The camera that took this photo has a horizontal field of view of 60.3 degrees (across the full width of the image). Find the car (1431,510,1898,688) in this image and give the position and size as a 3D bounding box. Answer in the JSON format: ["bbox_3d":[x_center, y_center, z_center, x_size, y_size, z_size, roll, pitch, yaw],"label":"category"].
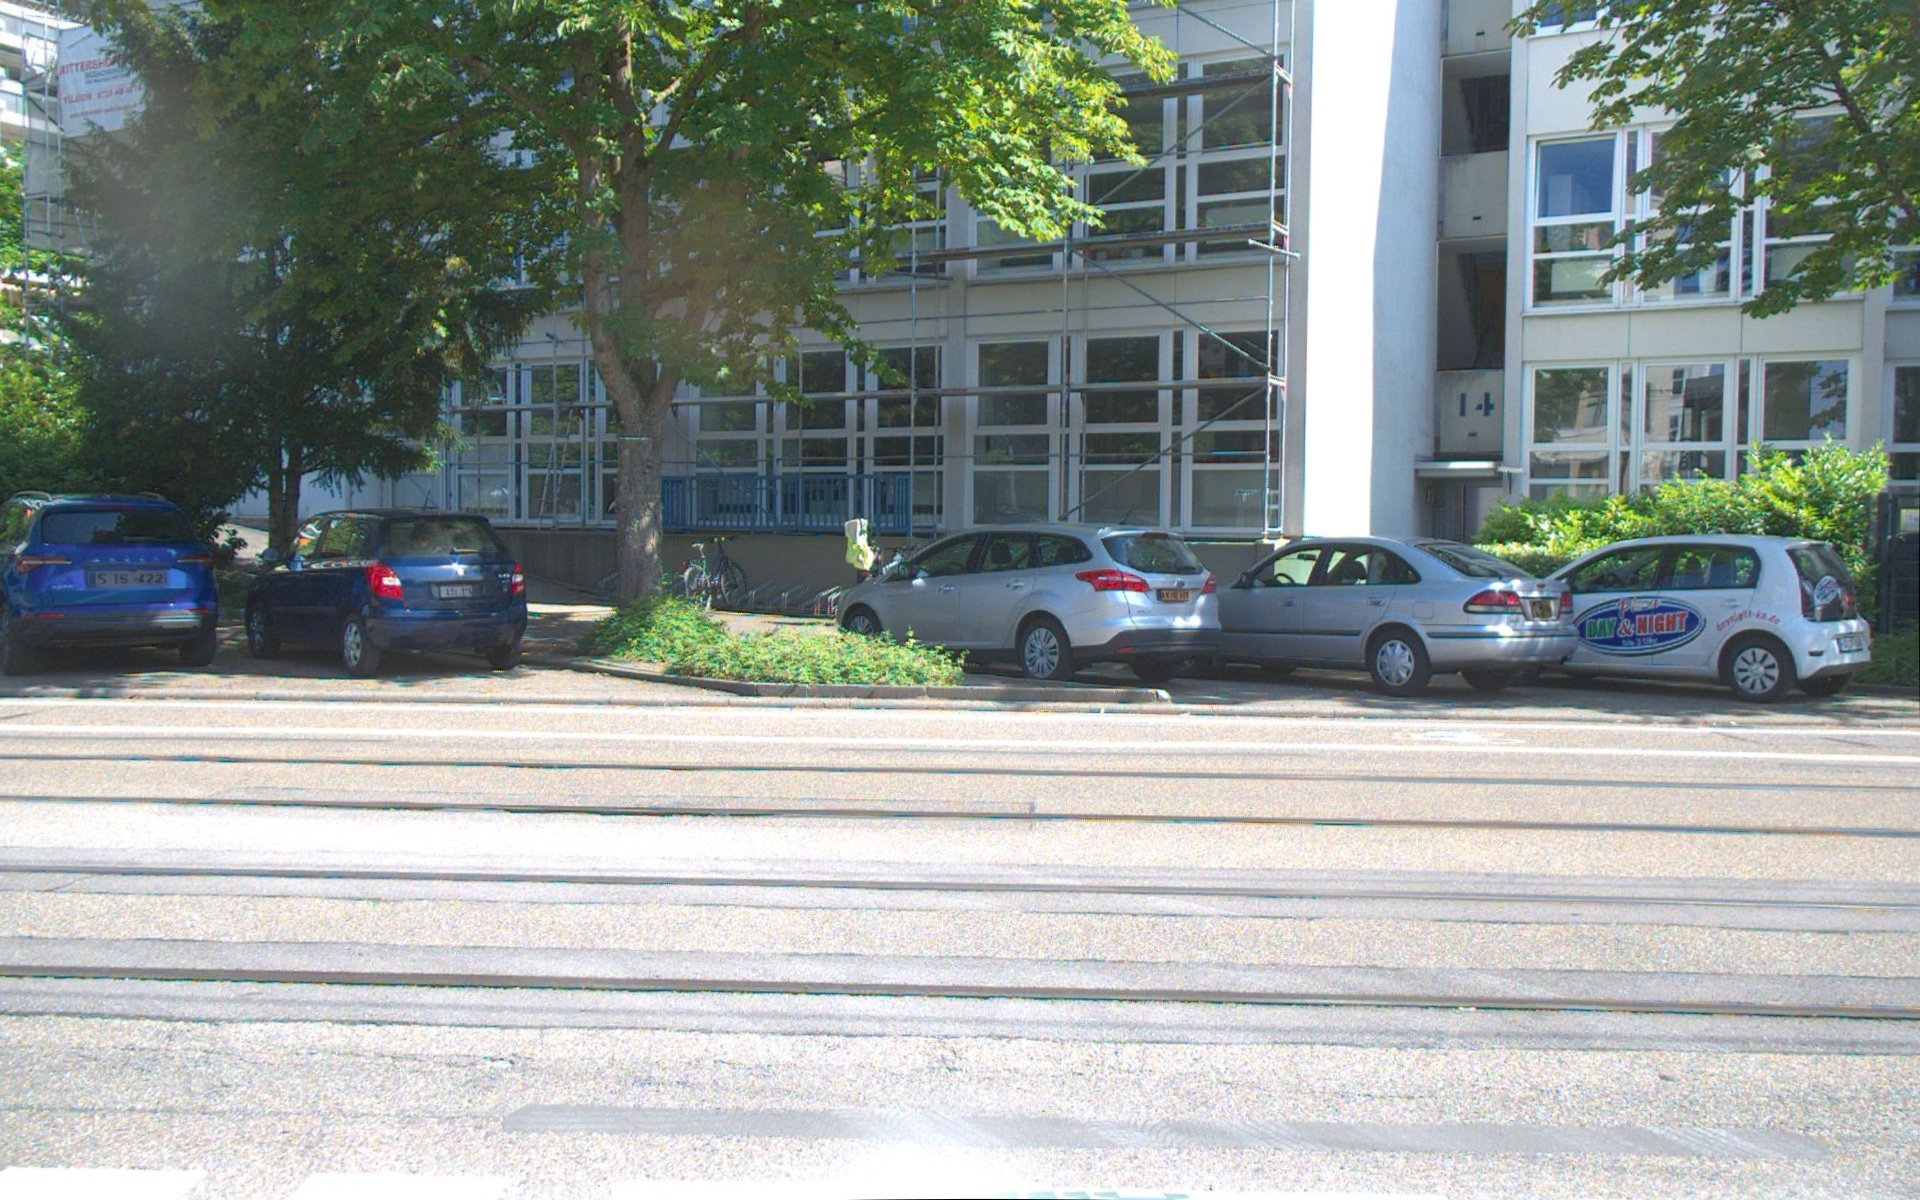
[{"bbox_3d":[6.701,-0.066,16.041,1.599,1.512,3.885,-2,2,-41],"label":"car"}]

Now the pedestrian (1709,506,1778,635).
[{"bbox_3d":[9.160,-0.353,19.348,0.607,1.486,0.425,0,2,6],"label":"pedestrian"}]

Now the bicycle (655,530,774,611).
[{"bbox_3d":[-3.524,-0.453,23.958,0.725,1.104,2.204,1,3,20],"label":"bicycle"}]

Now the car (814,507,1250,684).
[{"bbox_3d":[0.581,-0.137,16.367,1.770,1.511,4.366,-2,3,-43],"label":"car"}]

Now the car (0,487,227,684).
[{"bbox_3d":[-8.645,-0.262,16.199,1.763,1.650,3.892,-3,5,-38],"label":"car"}]

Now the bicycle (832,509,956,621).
[{"bbox_3d":[-0.892,-0.512,22.932,0.649,1.478,2.085,1,3,33],"label":"bicycle"}]

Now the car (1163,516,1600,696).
[{"bbox_3d":[3.926,-0.040,15.911,1.599,1.511,3.887,-2,3,-41],"label":"car"}]

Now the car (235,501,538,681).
[{"bbox_3d":[-5.641,-0.159,16.095,1.564,1.557,3.404,-2,3,-43],"label":"car"}]
